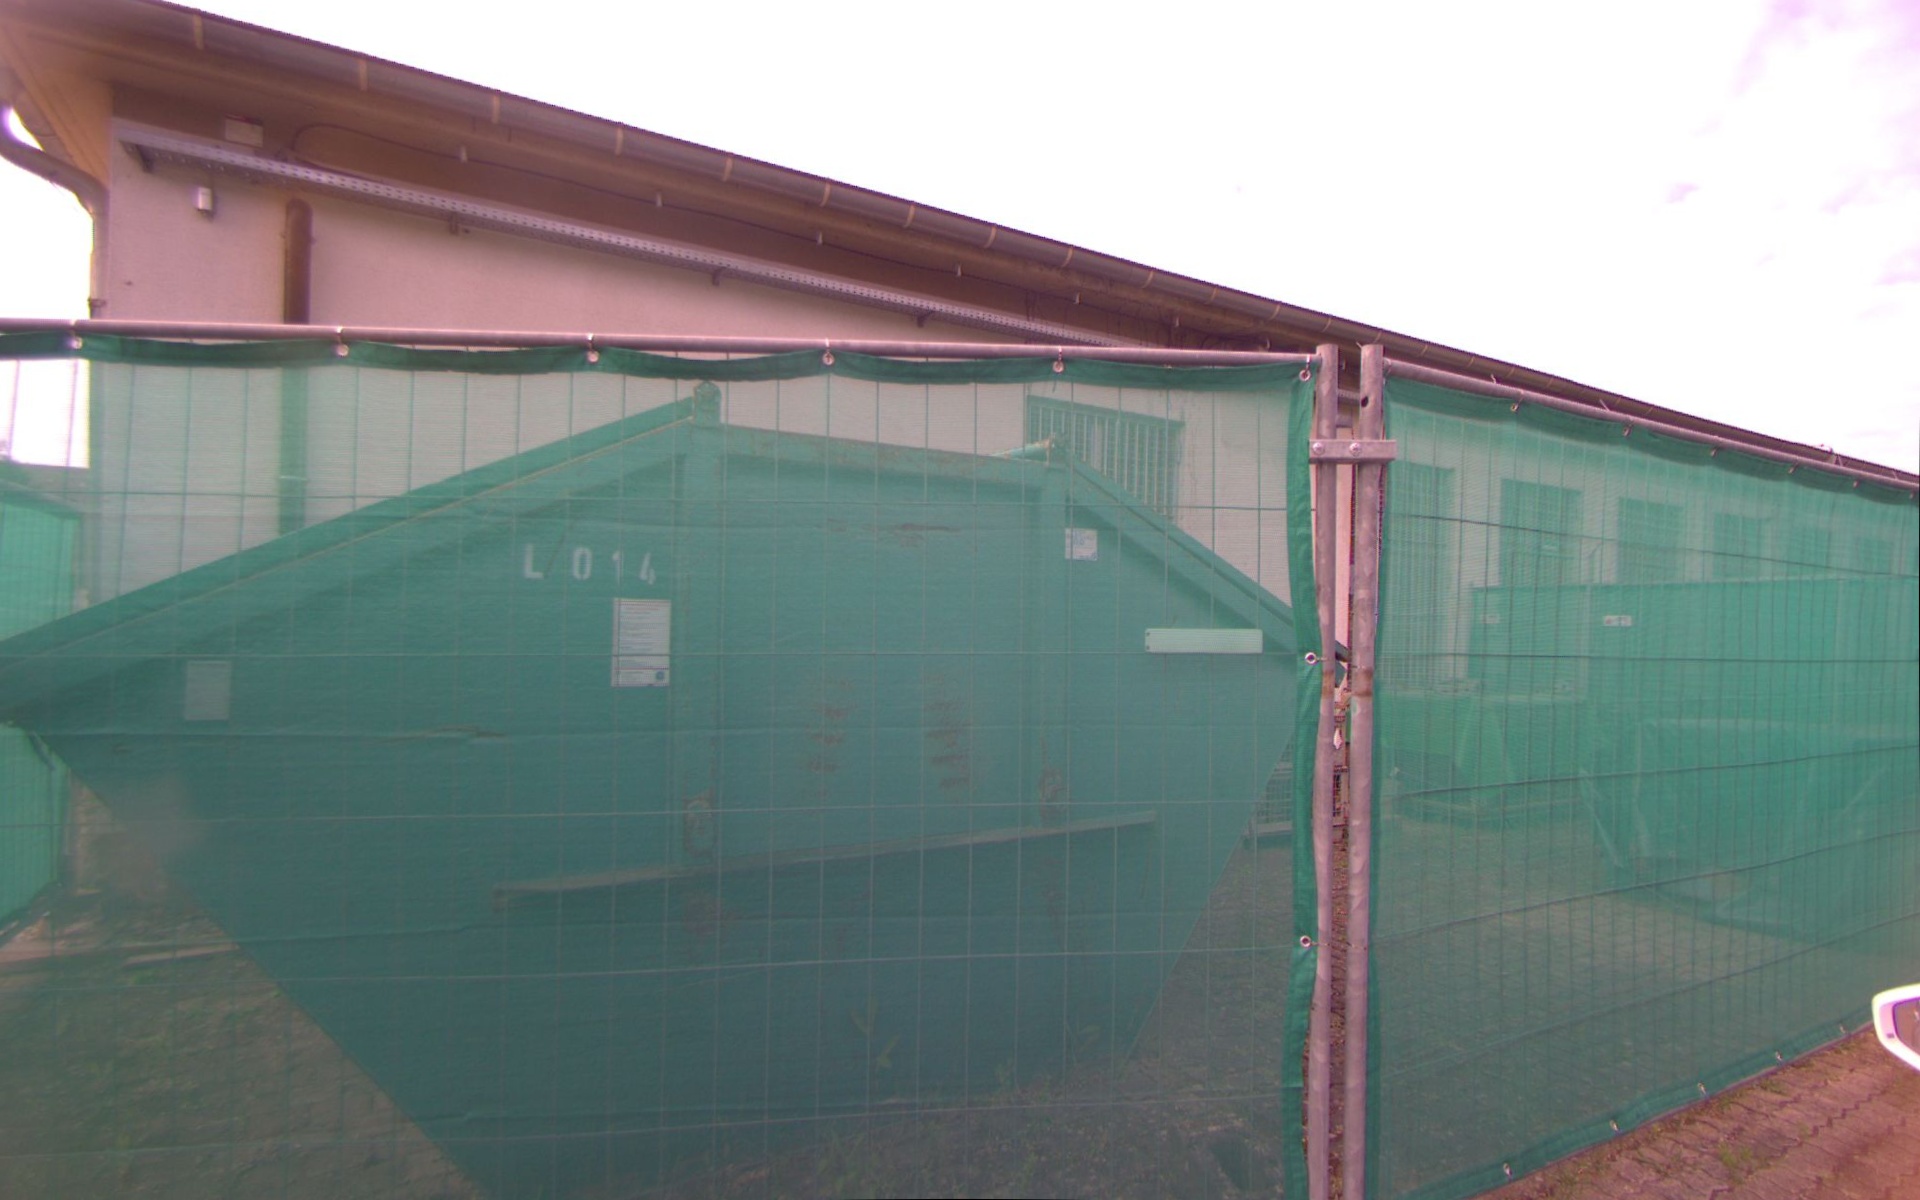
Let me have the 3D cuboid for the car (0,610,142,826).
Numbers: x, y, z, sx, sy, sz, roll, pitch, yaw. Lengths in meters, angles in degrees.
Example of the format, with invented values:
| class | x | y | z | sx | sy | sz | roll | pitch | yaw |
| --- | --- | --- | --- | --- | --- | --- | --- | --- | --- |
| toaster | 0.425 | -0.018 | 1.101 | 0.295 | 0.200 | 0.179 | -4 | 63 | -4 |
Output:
| class | x | y | z | sx | sy | sz | roll | pitch | yaw |
| --- | --- | --- | --- | --- | --- | --- | --- | --- | --- |
| car | -8.358 | 0.822 | 8.303 | 1.909 | 1.458 | 4.330 | 0 | 0 | -32 |
